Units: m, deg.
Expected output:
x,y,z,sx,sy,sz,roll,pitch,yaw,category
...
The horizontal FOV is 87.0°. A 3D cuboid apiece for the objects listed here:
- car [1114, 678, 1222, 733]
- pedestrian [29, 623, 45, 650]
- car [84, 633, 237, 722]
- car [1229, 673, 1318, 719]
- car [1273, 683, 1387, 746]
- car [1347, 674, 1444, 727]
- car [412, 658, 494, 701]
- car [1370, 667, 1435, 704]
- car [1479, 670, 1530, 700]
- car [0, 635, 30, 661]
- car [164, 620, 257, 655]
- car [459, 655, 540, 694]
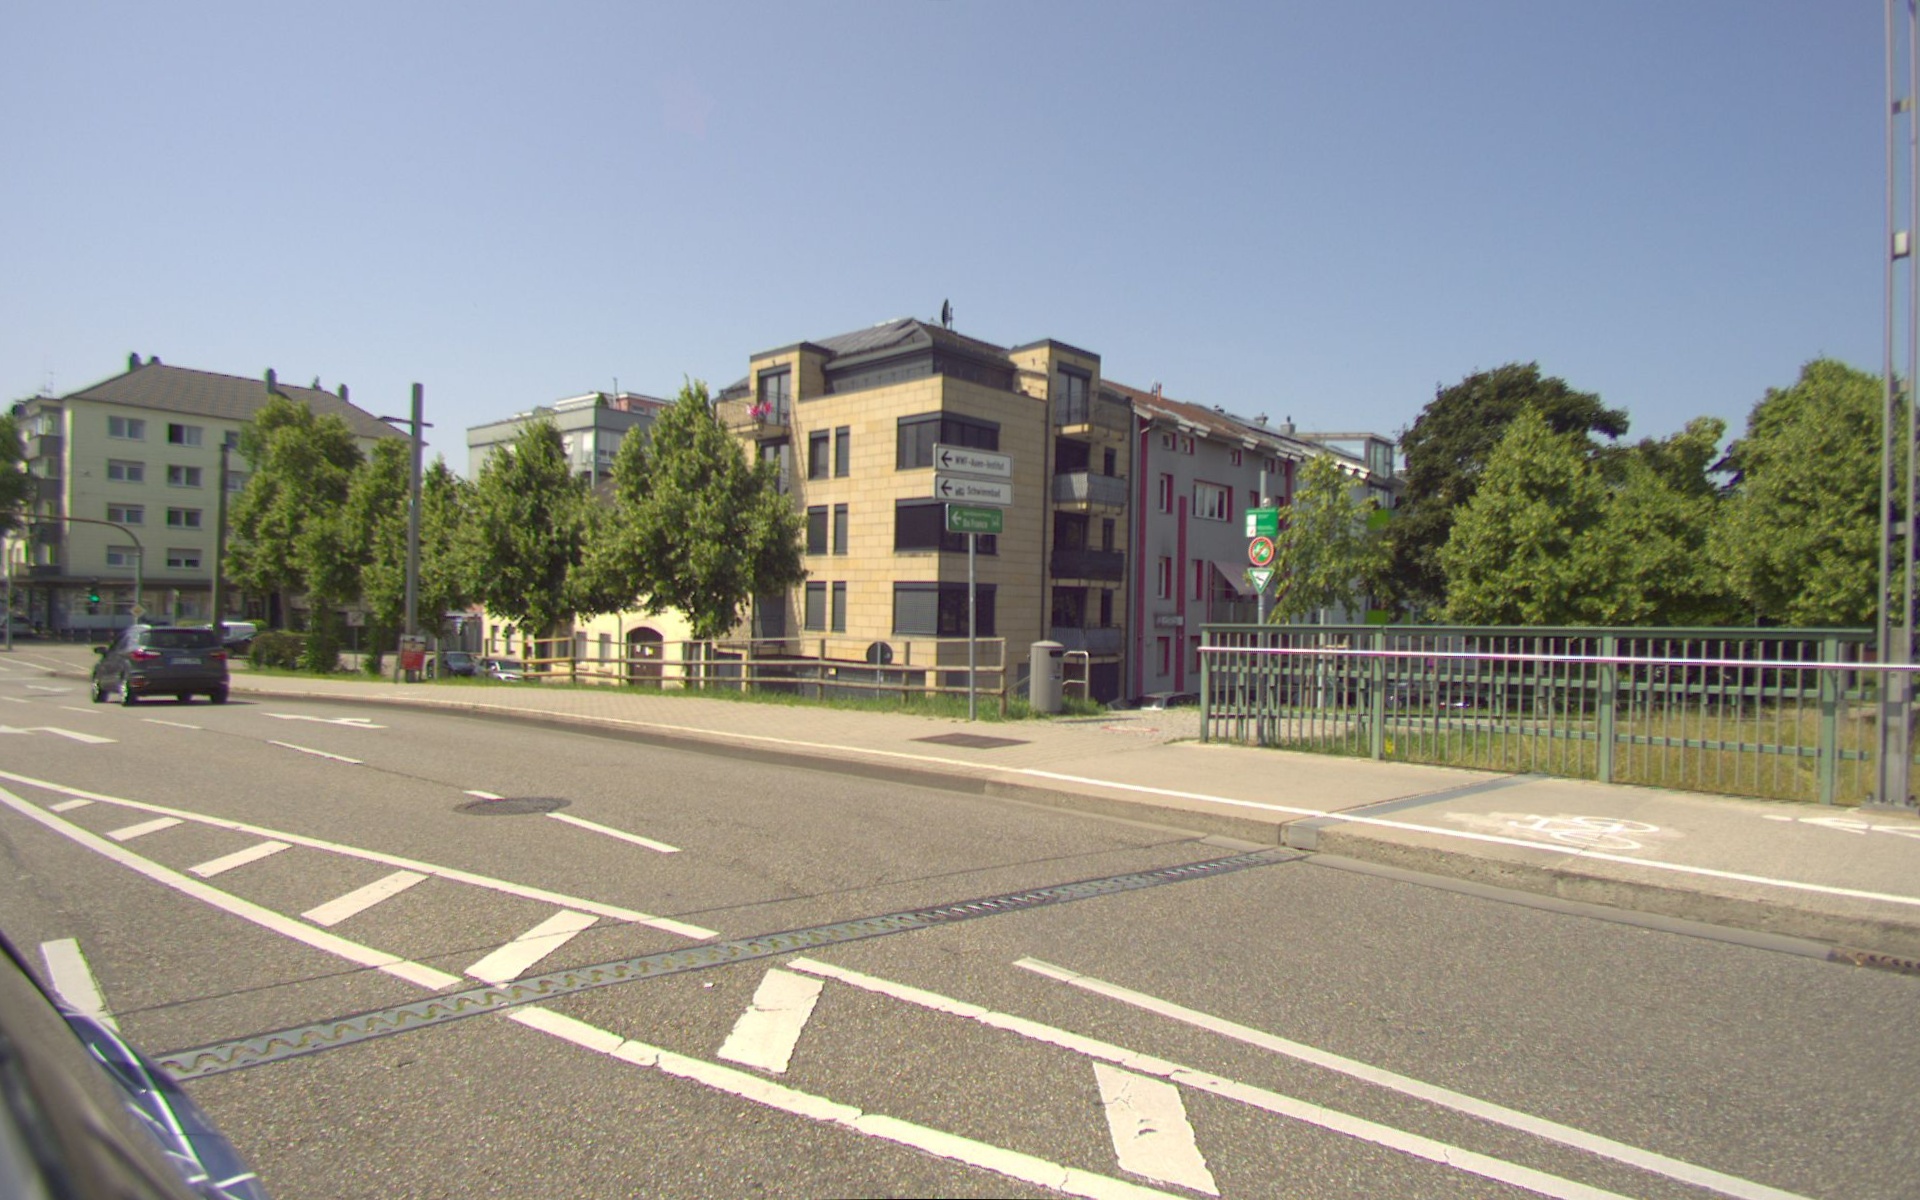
x,y,z,sx,sy,sz,roll,pitch,yaw,category
7.347,3.649,35.464,1.999,1.662,3.944,0,-3,42,car
-60.568,2.382,66.407,0.741,1.773,0.621,1,-1,36,pedestrian
-17.125,1.599,21.625,3.918,1.653,1.719,0,-3,40,car
12.773,3.835,41.096,1.999,1.662,3.944,0,-3,42,car
11.658,3.530,31.750,2.000,1.662,3.943,-1,-3,43,car
15.580,3.527,36.113,2.000,1.662,3.943,-1,-3,43,car
-24.497,3.790,48.837,5.287,1.640,1.794,1,-2,44,car
23.177,4.409,52.915,1.999,1.662,3.944,0,-1,42,car
34.905,5.400,64.816,1.999,1.662,3.944,0,-1,42,car
-61.067,3.046,64.737,3.932,1.469,1.568,1,0,36,car
-41.396,2.076,55.950,1.889,1.748,3.654,1,-3,34,car
-20.589,3.274,45.168,4.430,1.443,1.756,-1,0,44,car
